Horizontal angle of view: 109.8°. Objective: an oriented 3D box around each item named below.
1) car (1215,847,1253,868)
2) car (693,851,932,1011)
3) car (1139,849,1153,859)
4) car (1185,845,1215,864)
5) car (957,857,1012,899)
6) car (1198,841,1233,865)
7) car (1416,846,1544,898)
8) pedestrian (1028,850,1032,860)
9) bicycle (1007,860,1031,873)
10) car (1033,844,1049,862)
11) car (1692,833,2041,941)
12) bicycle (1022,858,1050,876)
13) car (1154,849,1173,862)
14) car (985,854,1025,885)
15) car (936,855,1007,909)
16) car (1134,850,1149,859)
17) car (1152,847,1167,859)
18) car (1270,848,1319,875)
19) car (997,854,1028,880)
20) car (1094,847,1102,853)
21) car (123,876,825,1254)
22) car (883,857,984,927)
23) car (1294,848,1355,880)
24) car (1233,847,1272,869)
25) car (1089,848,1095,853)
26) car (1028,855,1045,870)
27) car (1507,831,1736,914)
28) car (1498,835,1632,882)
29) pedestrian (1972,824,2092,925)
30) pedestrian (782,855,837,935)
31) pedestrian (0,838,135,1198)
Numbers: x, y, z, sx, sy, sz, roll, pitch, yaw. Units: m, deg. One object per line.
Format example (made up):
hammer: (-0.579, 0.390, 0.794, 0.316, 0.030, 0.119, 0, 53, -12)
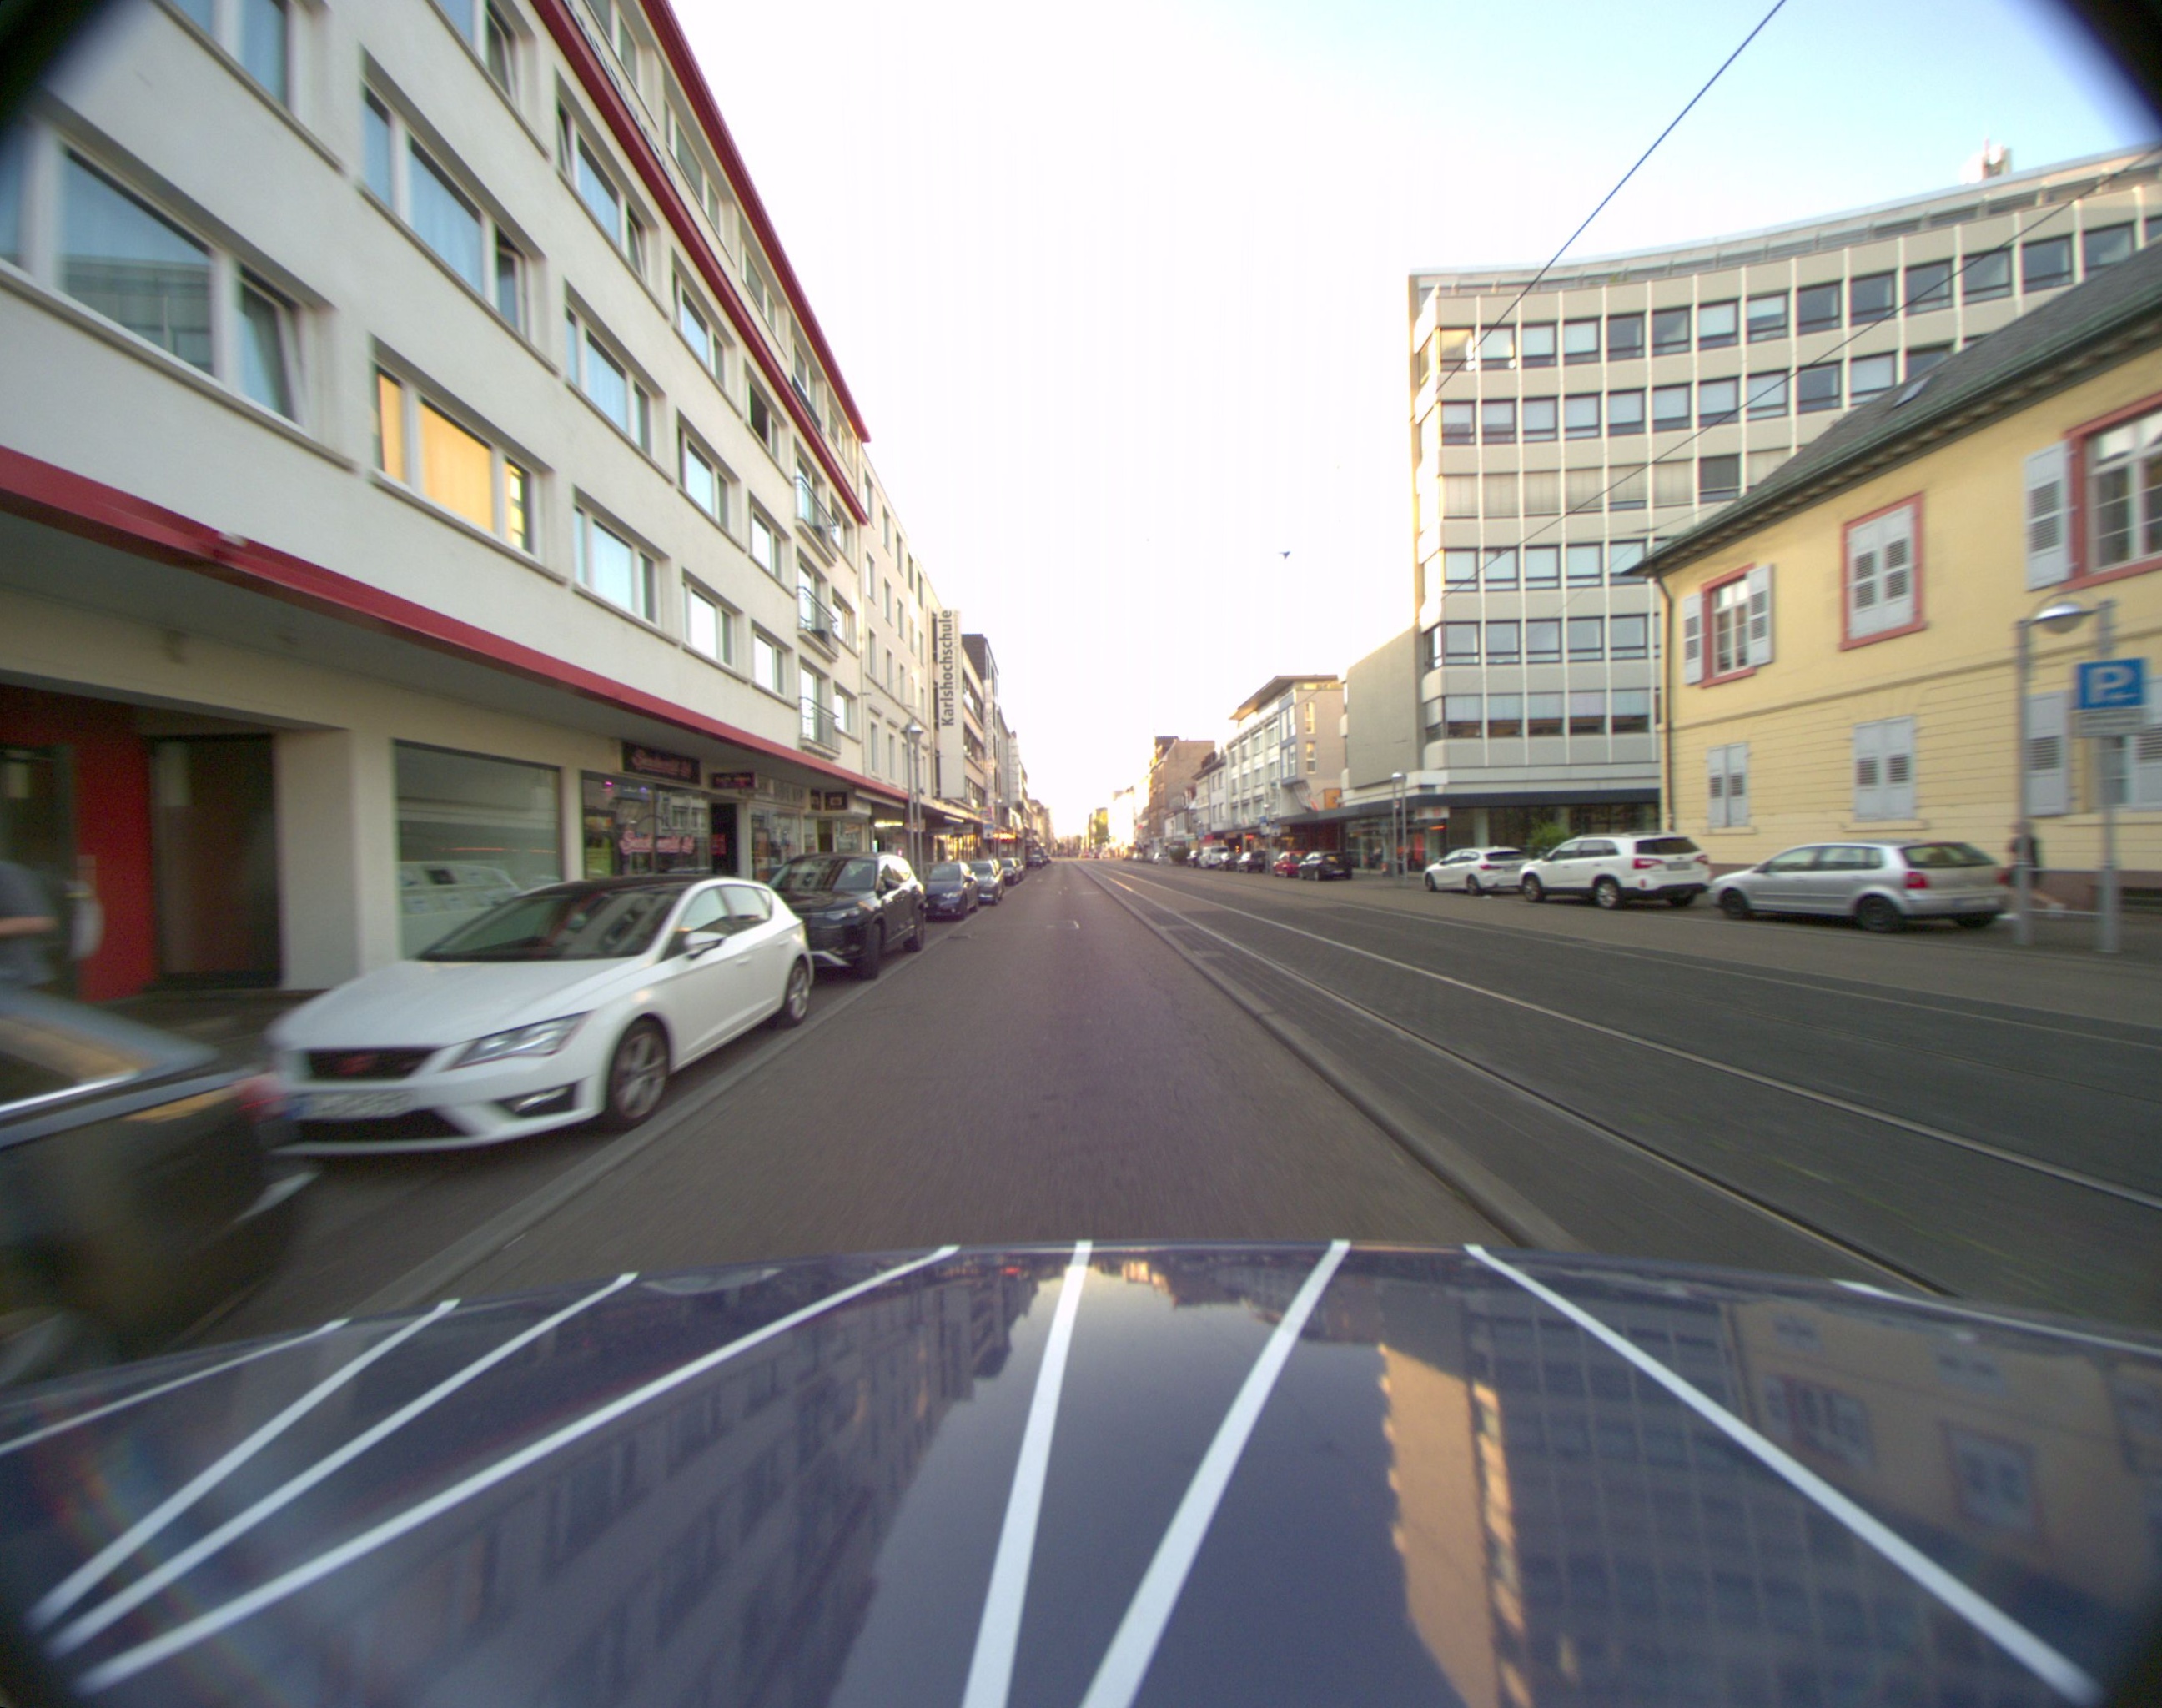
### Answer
car: (12.000, 0.248, 59.847, 1.877, 1.418, 4.569, -3, 1, -1)
car: (-3.504, 0.877, 10.910, 1.861, 1.691, 4.416, -3, 1, -2)
car: (10.437, -0.044, 122.701, 1.846, 1.484, 3.815, -3, 1, -1)
car: (11.658, 0.017, 74.701, 1.999, 1.687, 4.587, -3, 1, -1)
car: (-3.934, 0.932, 31.521, 1.730, 1.473, 3.999, -3, 1, -1)
car: (11.833, -0.125, 67.277, 1.969, 2.002, 5.098, -3, 1, -2)
car: (12.737, 0.528, 24.581, 1.725, 1.444, 4.282, -3, 0, -2)
pedestrian: (-8.348, 0.167, 124.303, 0.743, 1.746, 0.789, 1, 1, -5)
bicycle: (-4.667, 0.936, 57.640, 1.800, 0.967, 0.575, 1, 1, -4)
car: (-5.673, -0.130, 108.866, 2.080, 2.434, 5.602, -3, 1, -2)
car: (13.025, 0.483, 13.037, 1.753, 1.465, 3.999, -3, 0, -1)
bicycle: (-3.072, 0.920, 52.347, 1.844, 1.103, 0.642, -4, 1, -4)
car: (10.984, 0.142, 101.730, 1.896, 1.547, 4.621, -3, 1, -1)
car: (-4.090, 0.800, 41.361, 1.770, 1.505, 4.070, -3, 1, -1)
car: (-3.639, 0.871, 26.045, 1.796, 1.524, 4.855, -3, 1, -2)
car: (10.655, 0.014, 134.791, 1.999, 1.412, 4.402, -3, 1, -3)
car: (11.102, -0.093, 106.996, 1.660, 1.562, 3.469, -3, 1, 0)
car: (12.160, 0.404, 43.518, 1.696, 1.426, 3.591, -2, 0, -1)
car: (-4.327, 0.804, 48.427, 1.659, 1.454, 4.021, -3, 1, -1)
car: (4.791, -1.259, 213.694, 1.999, 1.554, 3.998, -3, 1, -2)
car: (-3.387, 0.998, 5.471, 1.655, 1.412, 4.190, -3, 1, -1)
car: (-3.709, 0.891, 19.896, 1.786, 1.513, 4.356, -3, 0, -1)
car: (12.266, 0.476, 38.502, 1.696, 1.417, 3.964, -4, 0, -1)
car: (11.909, 0.234, 52.970, 1.795, 1.452, 4.090, -1, 0, 0)
car: (3.631, -1.219, 253.271, 1.999, 1.434, 3.998, -3, 1, -2)
car: (-5.024, 0.950, 86.144, 1.745, 1.532, 3.964, -2, 1, -1)
car: (12.694, 0.376, 18.330, 1.892, 1.651, 4.759, -3, 0, -3)
car: (18.696, 0.158, 29.469, 3.998, 1.544, 1.913, -3, 1, -3)
pedestrian: (15.211, 0.312, 12.179, 0.801, 1.533, 0.877, -3, 1, 1)
pedestrian: (-5.553, 0.821, 15.592, 0.735, 1.564, 0.966, -2, 1, -2)
pedestrian: (-6.030, 0.859, 4.028, 0.776, 1.869, 0.934, -1, 1, -3)
